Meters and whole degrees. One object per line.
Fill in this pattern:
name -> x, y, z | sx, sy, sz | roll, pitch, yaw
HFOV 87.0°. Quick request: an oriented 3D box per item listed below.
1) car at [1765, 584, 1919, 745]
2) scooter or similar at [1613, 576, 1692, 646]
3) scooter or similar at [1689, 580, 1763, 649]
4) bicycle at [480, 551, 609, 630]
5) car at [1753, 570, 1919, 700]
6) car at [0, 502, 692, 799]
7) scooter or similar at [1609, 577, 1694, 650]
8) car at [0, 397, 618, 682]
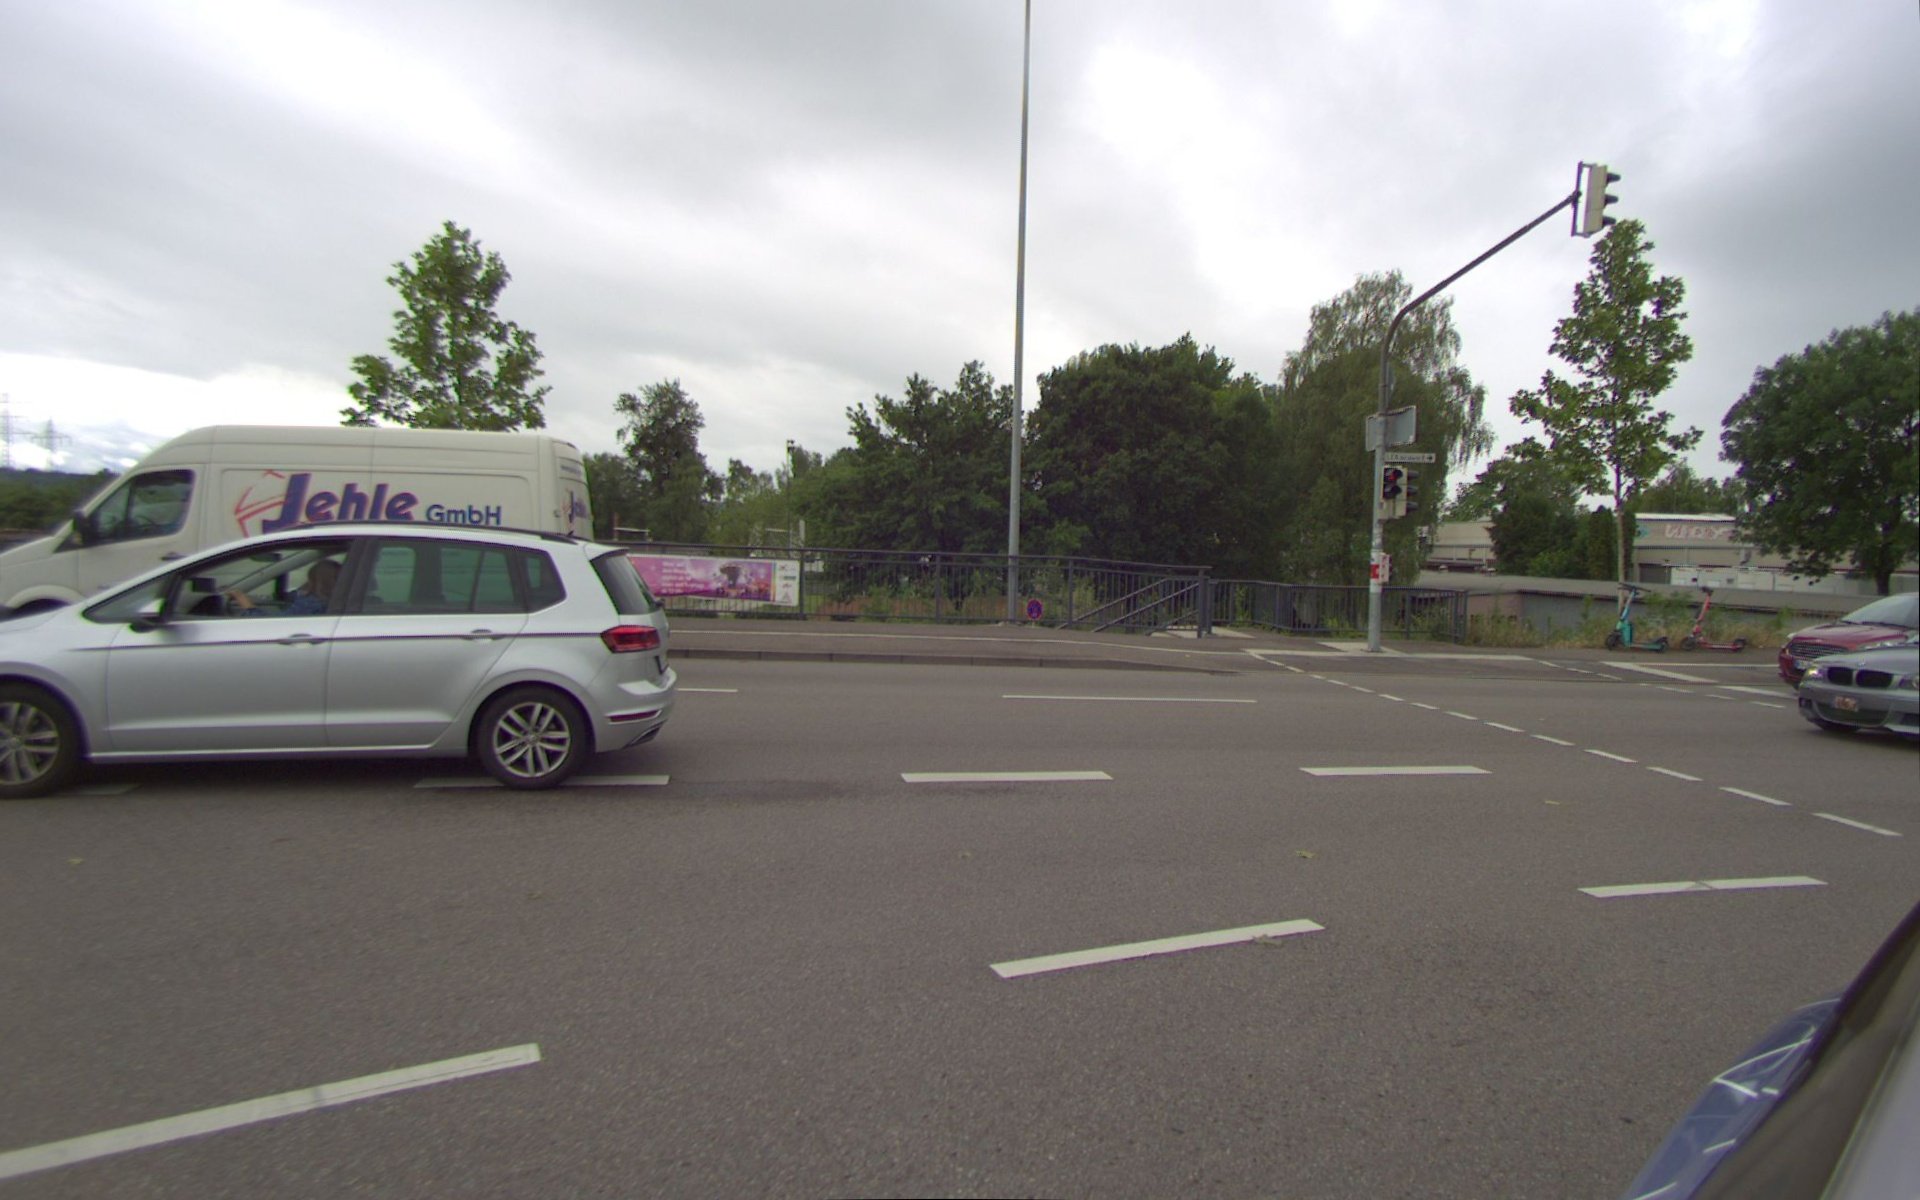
car -> 10.677, 0.625, 9.821 | 4.258, 1.408, 1.878 | 1, 2, -3
scooter or similar -> 13.021, 0.205, 19.044 | 1.132, 1.258, 0.392 | 2, 4, -2
scooter or similar -> 14.237, 0.269, 18.817 | 1.028, 1.229, 0.375 | -1, 3, 3
bicycle -> -6.167, -0.144, 15.067 | 1.674, 1.057, 0.550 | 2, 5, -7
car -> 13.024, 0.453, 13.446 | 3.696, 1.580, 1.658 | 1, 2, -4
car -> -3.907, 0.255, 6.561 | 4.113, 1.571, 1.865 | 1, 2, -13
scooter or similar -> 12.679, 0.241, 18.583 | 1.133, 1.258, 0.478 | 2, 4, 3
car -> -7.064, -0.596, 11.318 | 5.777, 2.658, 2.670 | 1, 2, -10
